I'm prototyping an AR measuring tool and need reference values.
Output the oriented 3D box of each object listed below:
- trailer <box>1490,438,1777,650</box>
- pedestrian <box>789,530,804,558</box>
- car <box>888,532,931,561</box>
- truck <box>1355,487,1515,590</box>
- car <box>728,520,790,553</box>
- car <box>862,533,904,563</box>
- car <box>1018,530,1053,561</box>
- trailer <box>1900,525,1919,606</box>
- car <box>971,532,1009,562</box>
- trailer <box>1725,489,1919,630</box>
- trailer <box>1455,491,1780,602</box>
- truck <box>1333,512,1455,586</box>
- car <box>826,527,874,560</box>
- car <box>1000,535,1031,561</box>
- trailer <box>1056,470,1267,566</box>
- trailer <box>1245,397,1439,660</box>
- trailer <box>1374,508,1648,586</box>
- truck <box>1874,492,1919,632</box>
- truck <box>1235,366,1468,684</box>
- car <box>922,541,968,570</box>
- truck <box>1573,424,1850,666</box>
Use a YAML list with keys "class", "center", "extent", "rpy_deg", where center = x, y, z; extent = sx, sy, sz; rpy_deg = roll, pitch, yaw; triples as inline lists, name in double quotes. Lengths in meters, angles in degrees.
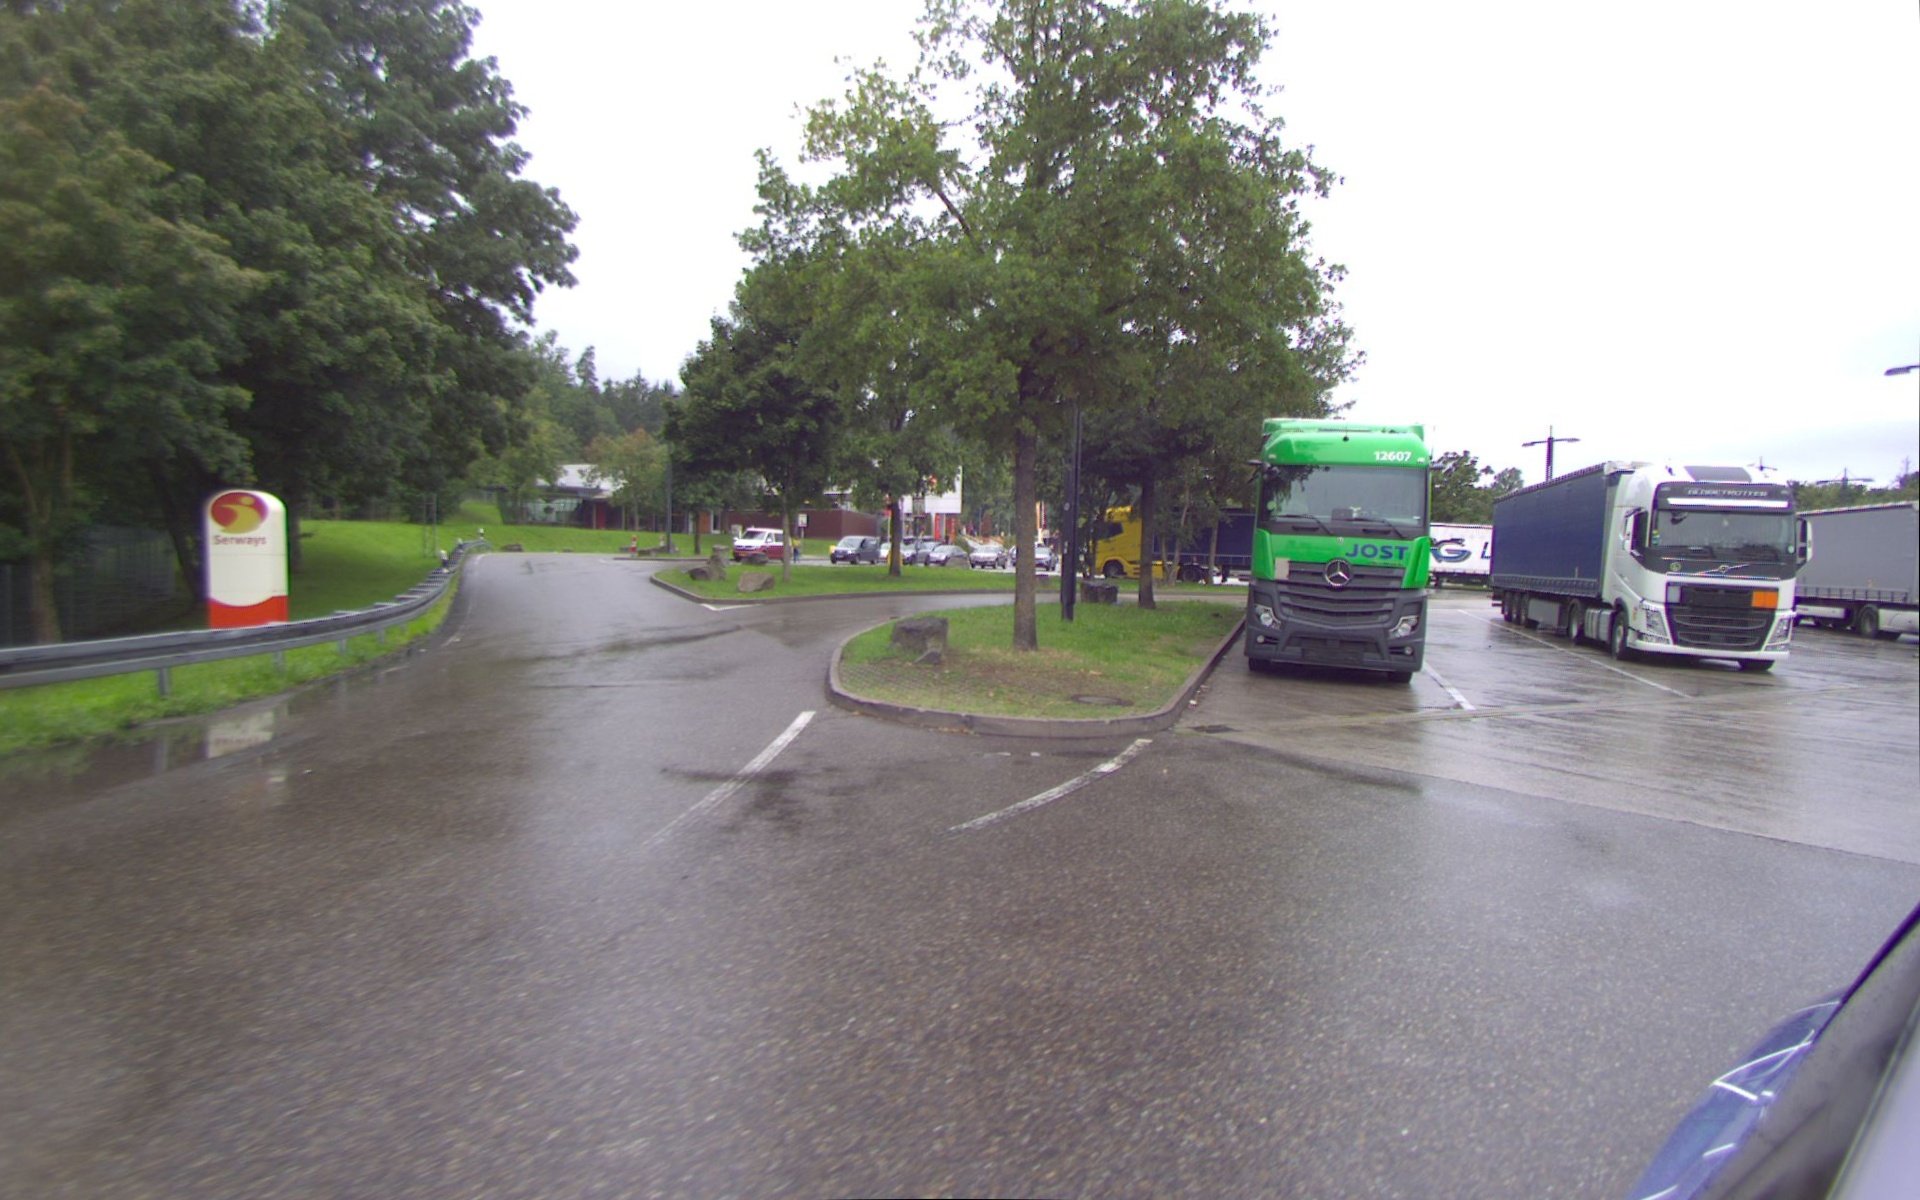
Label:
- class: "trailer"
  center: [17.144, -1.515, 27.293]
  extent: [2.791, 4.221, 13.914]
  rpy_deg: [3, 4, 19]
- class: "pedestrian"
  center: [-10.230, -3.511, 63.404]
  extent: [0.702, 1.679, 0.795]
  rpy_deg: [1, 3, -27]
- class: "car"
  center: [-3.230, -3.444, 65.402]
  extent: [1.732, 1.712, 3.983]
  rpy_deg: [0, 0, 14]
- class: "truck"
  center: [22.835, -3.007, 49.120]
  extent: [6.453, 4.561, 3.240]
  rpy_deg: [3, 3, 19]
- class: "car"
  center: [-12.044, -3.786, 60.896]
  extent: [1.939, 1.756, 4.524]
  rpy_deg: [0, 0, 14]
- class: "car"
  center: [-5.393, -3.650, 71.620]
  extent: [1.826, 1.905, 3.983]
  rpy_deg: [0, 0, 14]
- class: "car"
  center: [5.209, -3.709, 69.329]
  extent: [1.758, 1.905, 3.983]
  rpy_deg: [0, 0, 14]
- class: "trailer"
  center: [46.175, -1.308, 42.801]
  extent: [2.834, 3.966, 16.534]
  rpy_deg: [3, 4, 19]
- class: "car"
  center: [2.118, -3.609, 69.617]
  extent: [1.829, 1.905, 3.983]
  rpy_deg: [0, 0, 14]
- class: "trailer"
  center: [30.464, -1.387, 34.206]
  extent: [2.808, 3.966, 13.877]
  rpy_deg: [3, 4, 18]
- class: "trailer"
  center: [29.763, -2.556, 46.698]
  extent: [11.880, 4.528, 3.240]
  rpy_deg: [3, 3, 19]
- class: "truck"
  center: [26.594, -3.058, 62.335]
  extent: [6.698, 4.329, 2.651]
  rpy_deg: [0, 0, 20]
- class: "car"
  center: [-7.031, -3.576, 64.904]
  extent: [1.791, 1.905, 3.983]
  rpy_deg: [0, 0, 14]
- class: "car"
  center: [4.400, -4.081, 80.019]
  extent: [1.743, 1.905, 3.983]
  rpy_deg: [0, 0, 14]
- class: "trailer"
  center: [10.595, -4.157, 53.259]
  extent: [10.603, 4.609, 3.417]
  rpy_deg: [0, 0, 20]
- class: "trailer"
  center: [8.300, -1.548, 23.243]
  extent: [2.789, 4.199, 13.896]
  rpy_deg: [3, 4, 17]
- class: "trailer"
  center: [32.308, -3.034, 60.249]
  extent: [13.986, 4.311, 2.651]
  rpy_deg: [0, 0, 20]
- class: "truck"
  center: [28.242, -0.993, 27.541]
  extent: [2.794, 3.960, 5.381]
  rpy_deg: [3, 3, 18]
- class: "truck"
  center: [6.187, -1.199, 16.681]
  extent: [2.789, 4.199, 5.967]
  rpy_deg: [3, 3, 18]
- class: "car"
  center: [-1.032, -3.098, 71.057]
  extent: [1.973, 1.910, 4.375]
  rpy_deg: [3, 3, 16]
- class: "truck"
  center: [14.792, -1.139, 20.480]
  extent: [2.791, 4.195, 5.272]
  rpy_deg: [3, 3, 19]
